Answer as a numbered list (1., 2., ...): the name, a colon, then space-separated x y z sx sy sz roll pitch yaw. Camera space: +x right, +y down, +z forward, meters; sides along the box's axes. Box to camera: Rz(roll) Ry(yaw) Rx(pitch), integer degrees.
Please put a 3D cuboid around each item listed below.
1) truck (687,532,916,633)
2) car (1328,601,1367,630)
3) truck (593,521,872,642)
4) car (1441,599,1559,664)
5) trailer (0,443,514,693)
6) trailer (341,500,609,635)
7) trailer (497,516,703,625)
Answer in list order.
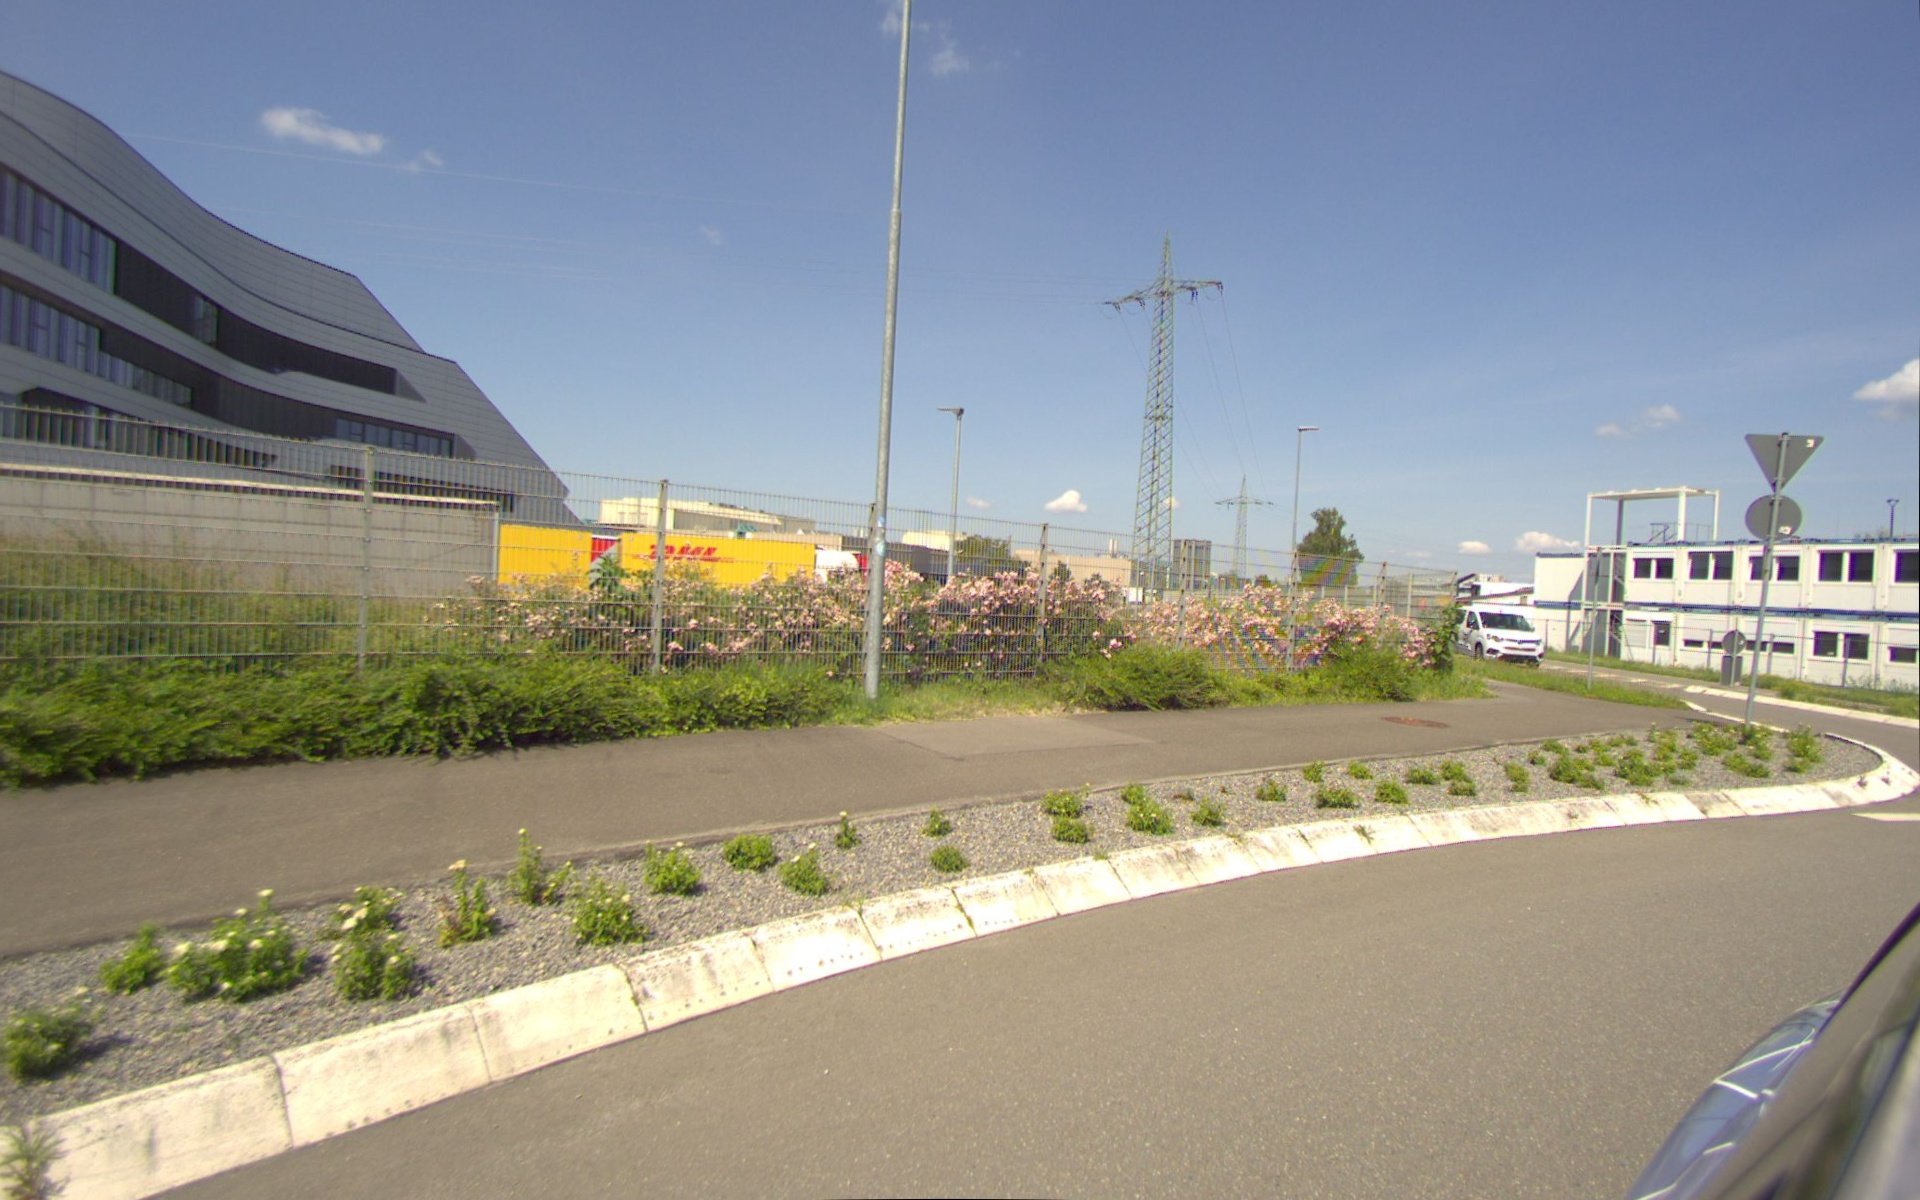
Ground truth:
1. truck: -7.929 -0.827 51.052 10.744 4.308 3.036 3 2 -24
2. car: 26.287 1.095 68.722 1.748 1.447 4.034 3 -6 11
3. truck: -9.341 -0.681 42.026 10.744 4.223 2.829 3 2 -23
4. car: 17.417 0.941 32.922 1.808 1.829 4.818 2 1 9
5. trailer: -16.805 -0.641 20.790 13.769 4.492 2.773 3 1 -24
6. trailer: -17.965 -1.119 37.951 8.536 4.348 2.908 3 2 -27
7. trailer: -16.711 -1.325 47.189 8.533 4.348 3.036 3 2 -23
